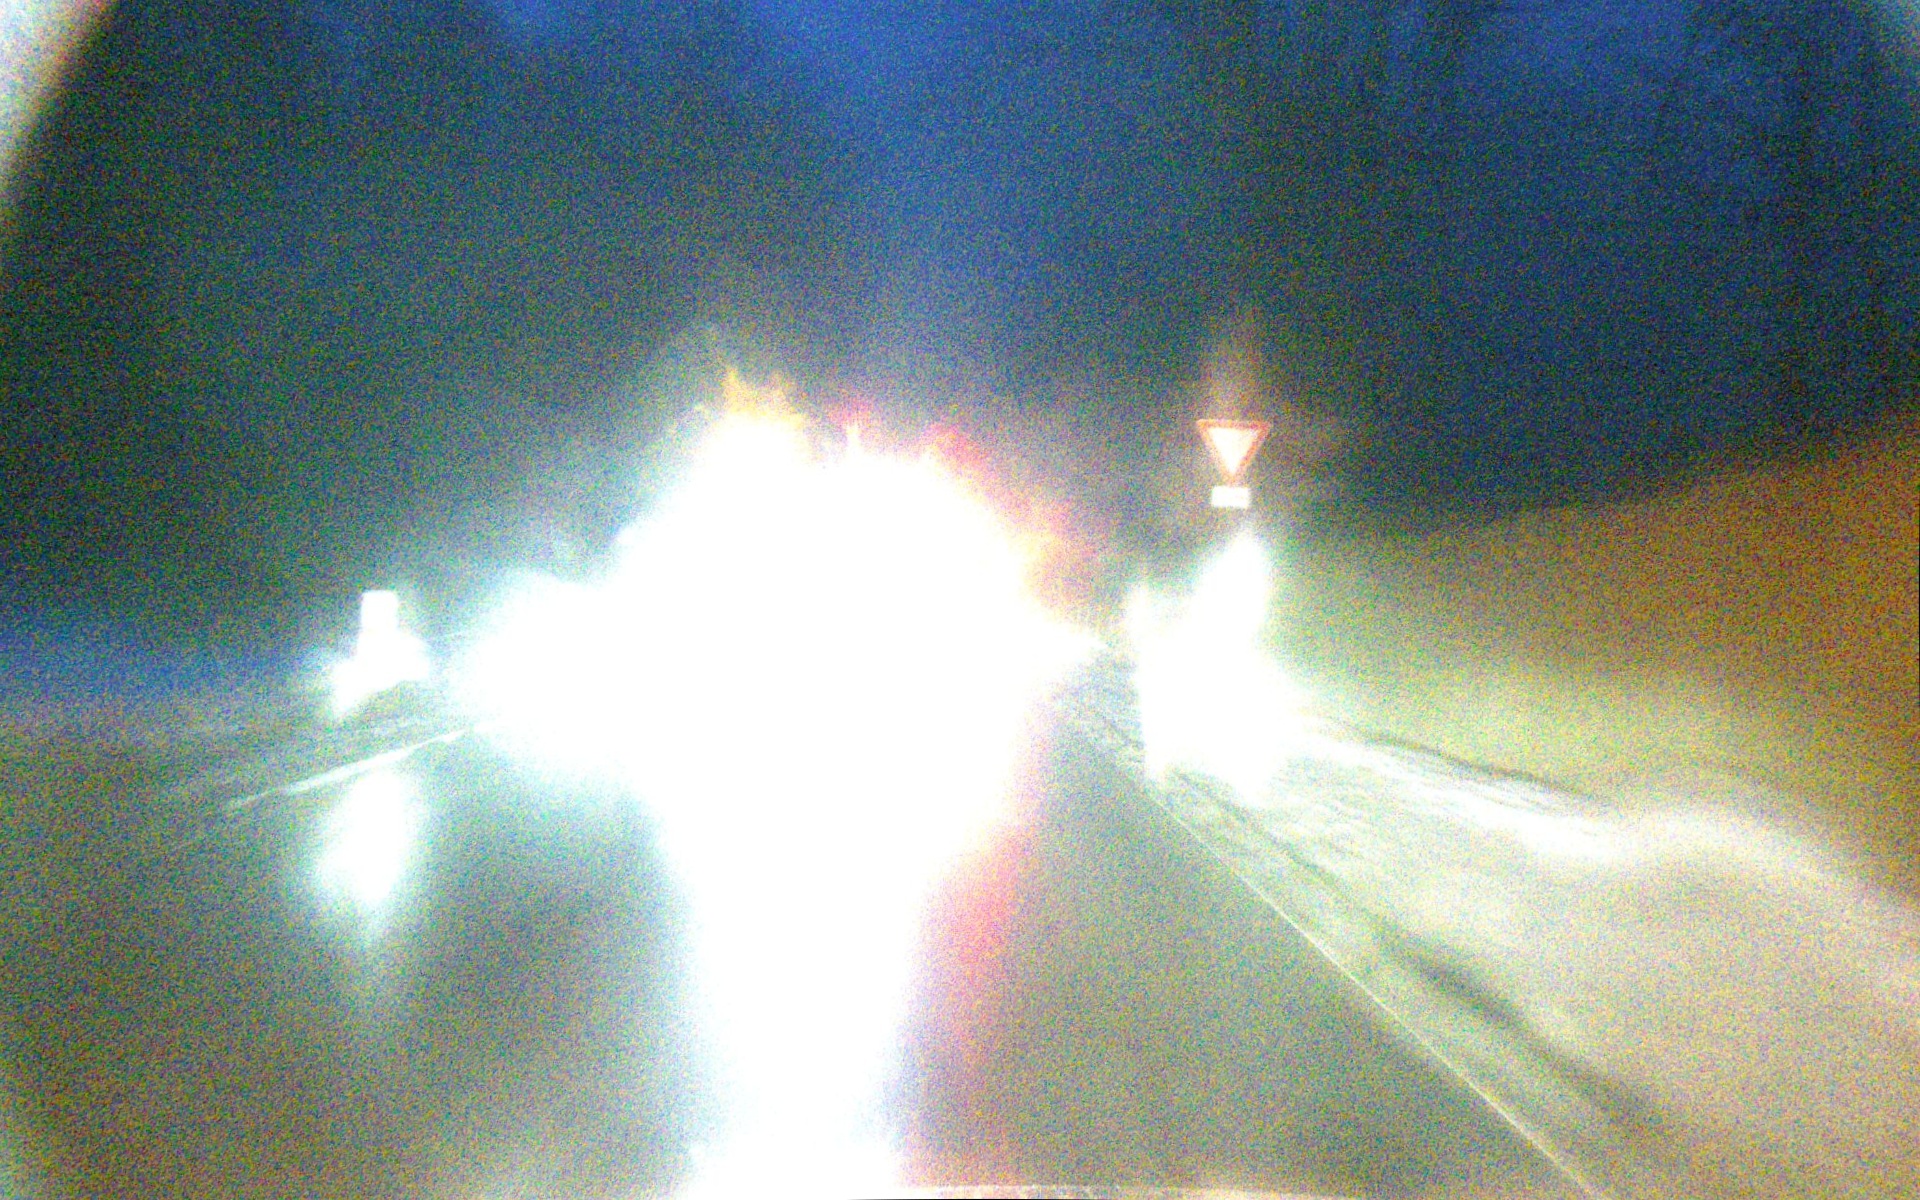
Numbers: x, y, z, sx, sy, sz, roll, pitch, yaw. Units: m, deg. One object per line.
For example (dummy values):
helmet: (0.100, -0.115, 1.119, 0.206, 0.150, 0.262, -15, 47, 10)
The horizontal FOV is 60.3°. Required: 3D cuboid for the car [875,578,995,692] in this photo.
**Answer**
car: (-0.398, 0.564, 26.945, 1.765, 1.657, 3.614, 3, -1, -1)
